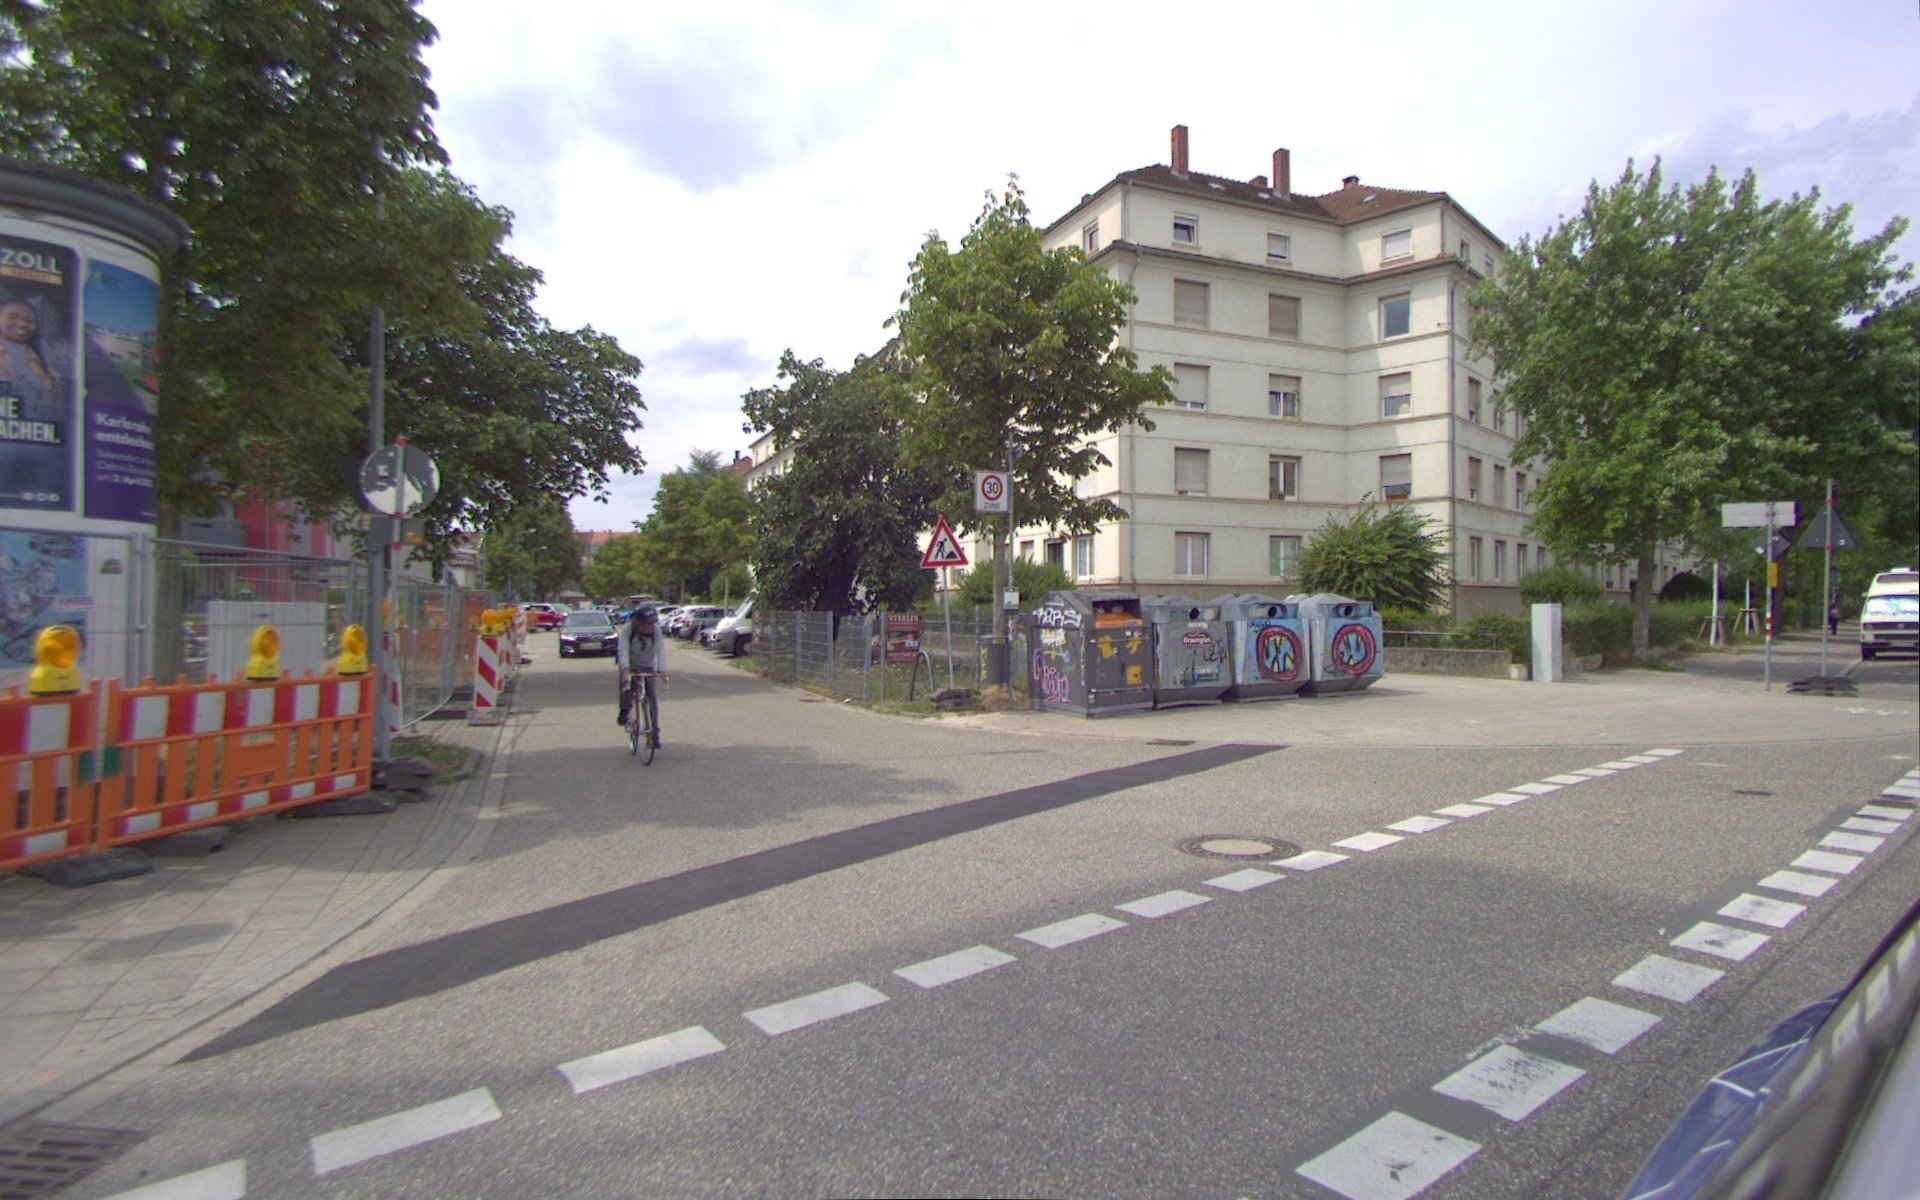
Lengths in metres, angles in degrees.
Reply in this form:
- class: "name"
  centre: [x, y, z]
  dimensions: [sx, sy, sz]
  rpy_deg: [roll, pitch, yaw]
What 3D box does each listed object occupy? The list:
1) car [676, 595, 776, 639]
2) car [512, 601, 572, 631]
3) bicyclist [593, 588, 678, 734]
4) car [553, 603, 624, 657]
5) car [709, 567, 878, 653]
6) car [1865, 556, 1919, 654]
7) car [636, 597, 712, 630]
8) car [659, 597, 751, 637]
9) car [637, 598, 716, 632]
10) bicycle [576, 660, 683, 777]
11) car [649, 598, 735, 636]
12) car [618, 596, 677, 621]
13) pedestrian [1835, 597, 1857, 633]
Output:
- class: "car"
  centre: [-9.932, 0.729, 42.913]
  dimensions: [3.837, 1.610, 1.803]
  rpy_deg: [-2, -2, -22]
- class: "car"
  centre: [-24.253, 0.919, 58.638]
  dimensions: [2.216, 1.613, 4.453]
  rpy_deg: [-2, 1, -36]
- class: "bicyclist"
  centre: [-3.368, 0.624, 10.581]
  dimensions: [0.700, 1.431, 1.082]
  rpy_deg: [0, -3, -10]
- class: "car"
  centre: [-12.346, 0.935, 33.503]
  dimensions: [1.838, 1.613, 4.189]
  rpy_deg: [-2, 1, -25]
- class: "car"
  centre: [-5.364, 0.301, 32.687]
  dimensions: [5.000, 2.485, 1.904]
  rpy_deg: [-2, -2, -22]
- class: "car"
  centre: [27.694, 0.082, 29.255]
  dimensions: [1.895, 2.635, 4.827]
  rpy_deg: [-5, -2, 45]
- class: "car"
  centre: [-15.943, 0.744, 56.370]
  dimensions: [3.837, 1.610, 1.803]
  rpy_deg: [-2, -2, -22]
- class: "car"
  centre: [-11.758, 0.787, 46.631]
  dimensions: [3.837, 1.610, 1.803]
  rpy_deg: [-2, -2, -22]
- class: "car"
  centre: [-15.135, 0.813, 53.968]
  dimensions: [3.837, 1.610, 1.803]
  rpy_deg: [-2, -2, -22]
- class: "bicycle"
  centre: [-3.349, 1.148, 10.462]
  dimensions: [0.700, 0.945, 2.483]
  rpy_deg: [0, -1, -10]
- class: "car"
  centre: [-13.035, 0.824, 49.208]
  dimensions: [3.837, 1.610, 1.803]
  rpy_deg: [-2, -2, -22]
- class: "car"
  centre: [-22.508, 0.621, 72.883]
  dimensions: [3.837, 1.610, 1.803]
  rpy_deg: [-2, -2, -22]
- class: "pedestrian"
  centre: [46.246, 0.757, 52.811]
  dimensions: [0.751, 1.826, 0.806]
  rpy_deg: [-1, 1, -45]
